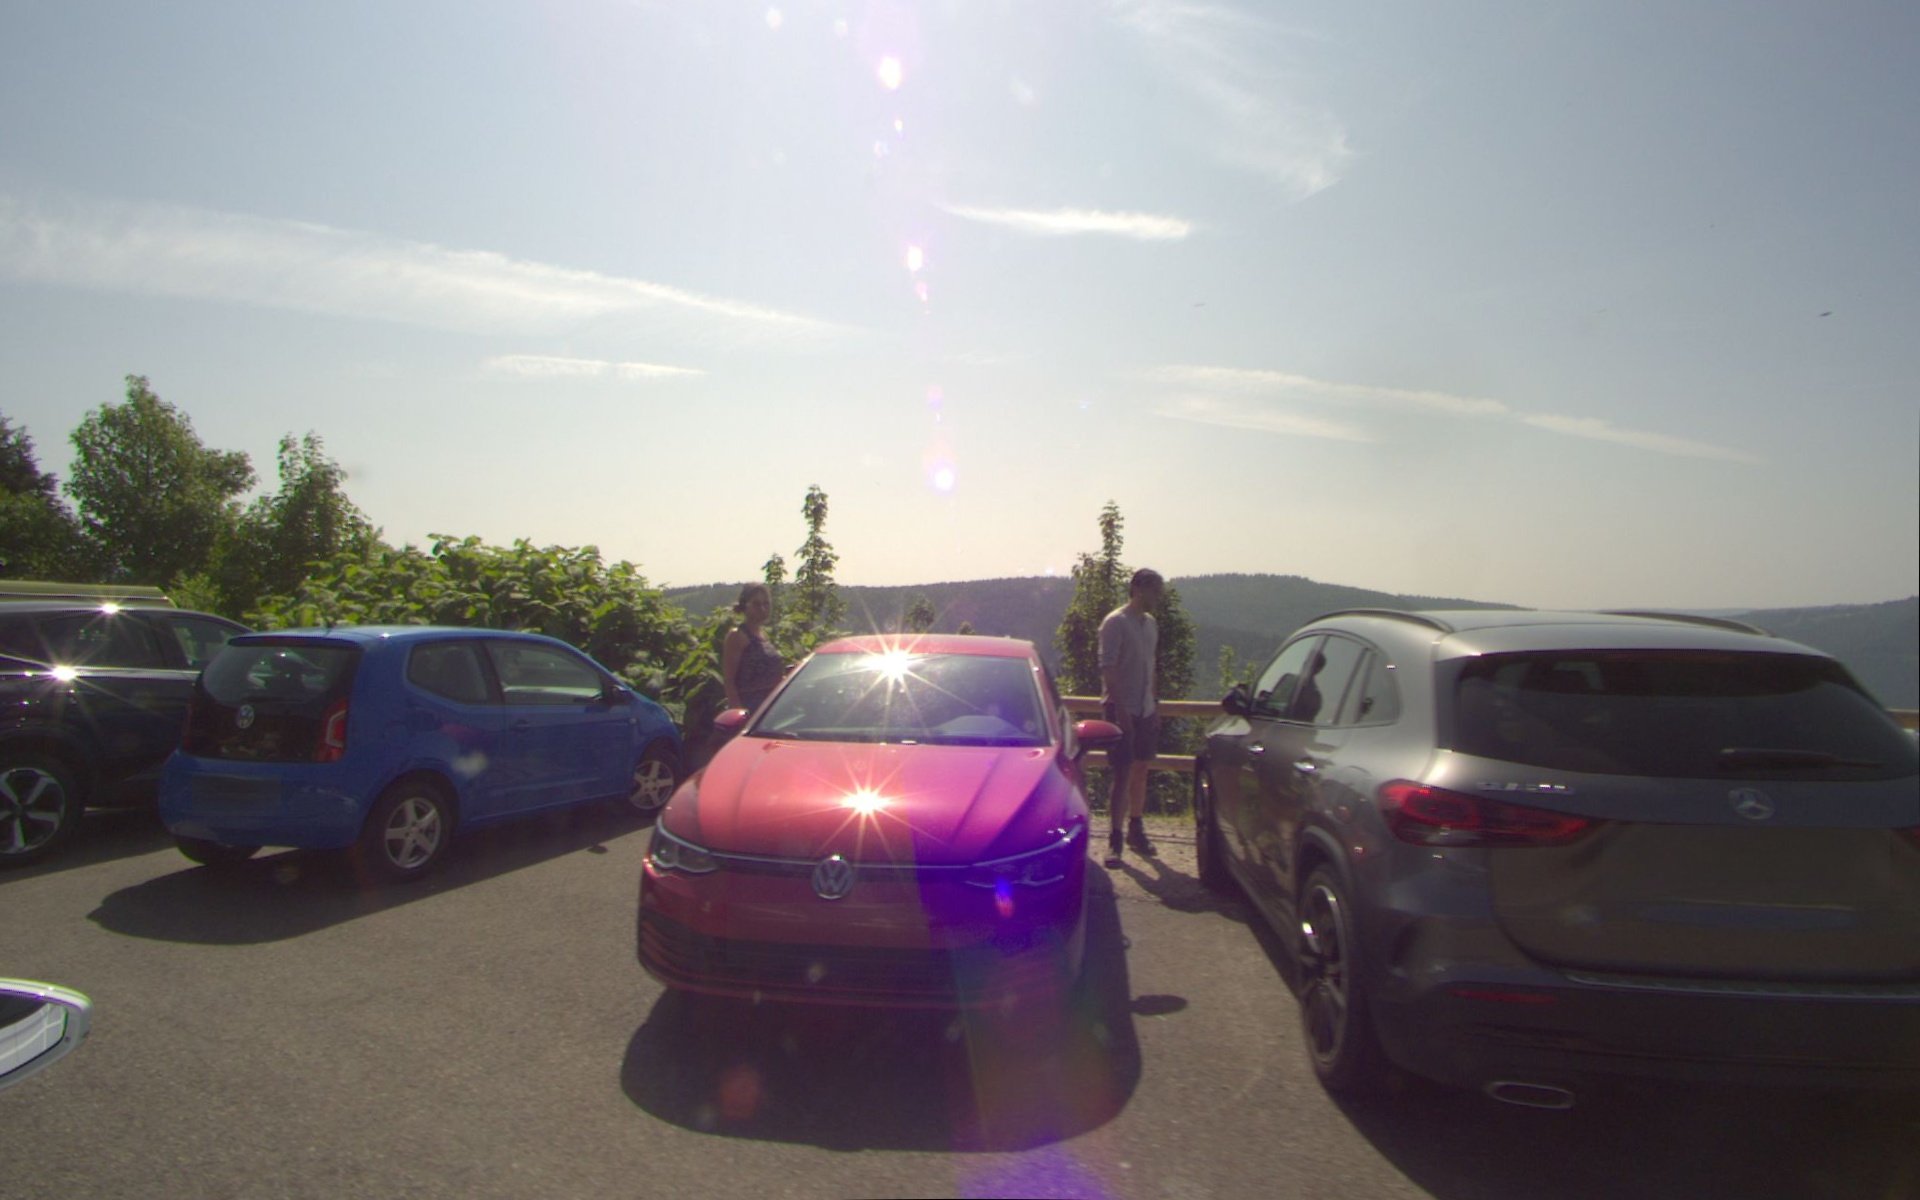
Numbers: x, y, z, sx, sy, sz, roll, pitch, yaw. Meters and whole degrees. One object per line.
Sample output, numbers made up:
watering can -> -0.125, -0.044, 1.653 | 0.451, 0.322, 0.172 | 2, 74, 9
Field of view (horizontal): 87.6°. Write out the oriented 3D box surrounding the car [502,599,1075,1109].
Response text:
car -> -0.345, 0.859, 5.166 | 1.807, 1.529, 4.002 | 1, -2, 7

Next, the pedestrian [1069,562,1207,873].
pedestrian -> 1.167, 0.746, 6.624 | 0.668, 1.923, 0.608 | 1, -2, -26

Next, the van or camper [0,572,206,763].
van or camper -> -11.309, 0.695, 10.631 | 1.848, 2.038, 5.104 | 0, -3, 17

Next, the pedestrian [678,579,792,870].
pedestrian -> -1.403, 0.758, 6.303 | 0.556, 1.746, 0.505 | 0, -2, 4

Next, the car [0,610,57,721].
car -> -14.447, 0.916, 12.586 | 1.778, 1.507, 4.360 | 0, 0, 13

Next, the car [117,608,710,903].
car -> -3.484, 0.907, 7.191 | 1.618, 1.514, 3.590 | 1, -3, 17

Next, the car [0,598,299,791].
car -> -8.602, 0.806, 9.098 | 1.675, 1.609, 4.158 | 0, -2, 20

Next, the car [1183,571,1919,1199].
car -> 2.250, 0.829, 4.628 | 1.871, 1.588, 4.413 | 1, -2, 6

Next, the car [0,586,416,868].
car -> -6.218, 0.781, 7.244 | 1.880, 1.634, 3.999 | 0, -2, 11

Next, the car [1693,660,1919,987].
car -> 4.953, 0.974, 3.903 | 1.625, 1.403, 4.002 | 0, -3, 7
